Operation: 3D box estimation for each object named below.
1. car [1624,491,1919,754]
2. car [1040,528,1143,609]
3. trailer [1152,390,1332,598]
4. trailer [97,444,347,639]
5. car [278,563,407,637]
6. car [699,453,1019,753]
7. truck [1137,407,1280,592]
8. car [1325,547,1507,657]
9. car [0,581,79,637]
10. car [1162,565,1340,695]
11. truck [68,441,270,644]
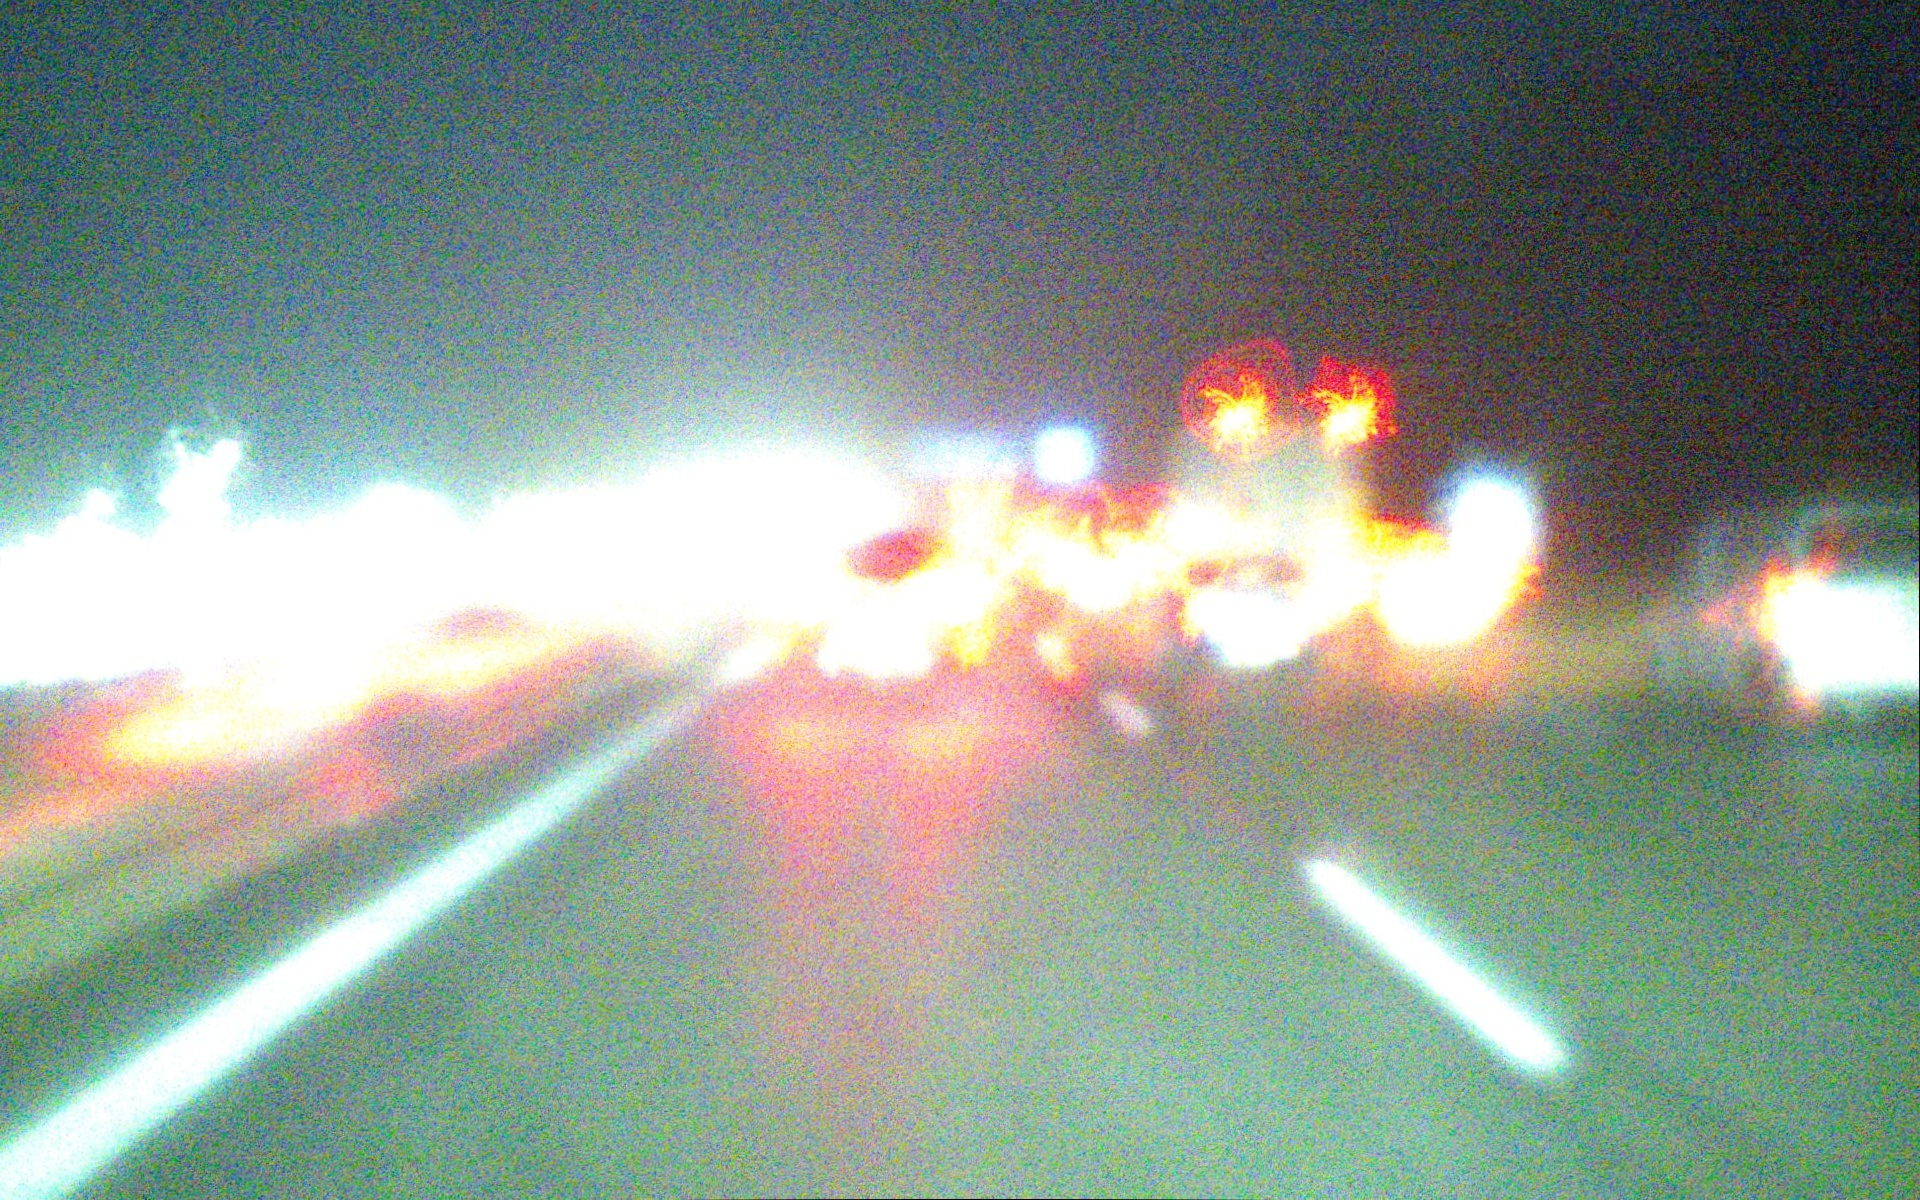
[{"bbox_3d":[7.168,0.099,29.092,2.046,1.967,5.407,-2,1,1],"label":"car"},{"bbox_3d":[2.635,-0.652,69.666,1.884,1.583,4.000,1,1,-1],"label":"car"},{"bbox_3d":[6.067,-2.247,75.840,2.803,4.198,12.097,1,1,-1],"label":"trailer"},{"bbox_3d":[-17.823,-1.444,84.260,3.048,4.278,14.410,-2,1,-1],"label":"trailer"},{"bbox_3d":[-12.880,-0.027,71.955,1.993,1.415,4.000,-1,1,-1],"label":"car"},{"bbox_3d":[-0.978,-0.042,32.887,2.709,2.525,5.831,-2,1,-2],"label":"car"},{"bbox_3d":[5.930,-2.385,83.091,2.803,4.252,7.448,1,1,-1],"label":"truck"},{"bbox_3d":[6.737,-0.006,51.259,1.894,1.481,4.962,1,1,-2],"label":"car"},{"bbox_3d":[-21.931,0.206,80.589,1.610,1.226,3.682,-1,1,-1],"label":"car"},{"bbox_3d":[3.301,0.310,39.589,1.612,1.407,3.792,0,1,-2],"label":"car"},{"bbox_3d":[-17.735,-1.304,77.489,3.054,4.278,6.084,-2,1,-1],"label":"truck"}]
